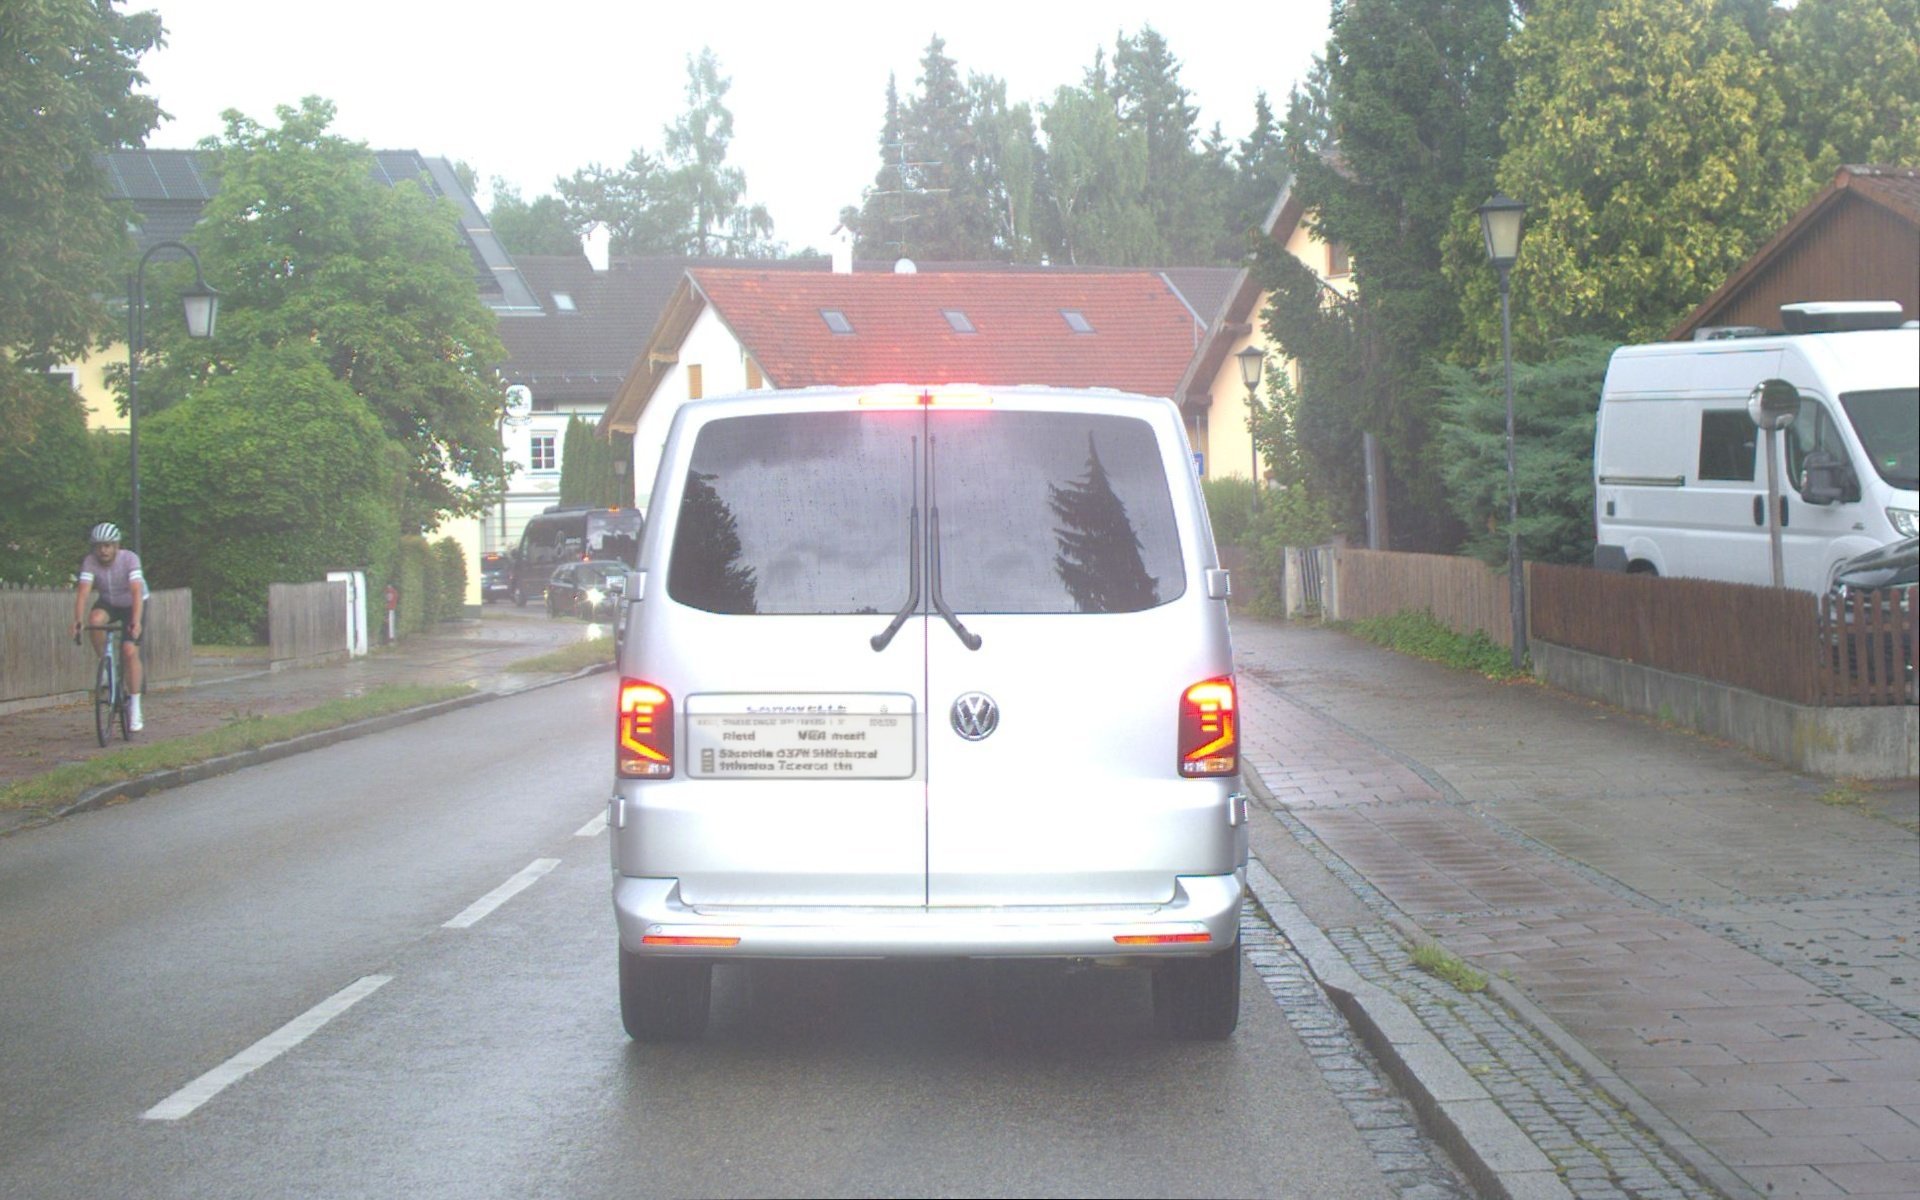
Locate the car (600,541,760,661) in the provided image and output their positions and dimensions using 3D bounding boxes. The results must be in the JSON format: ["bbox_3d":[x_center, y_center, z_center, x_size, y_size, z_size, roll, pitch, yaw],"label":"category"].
[{"bbox_3d":[-3.794,0.007,47.242,1.827,1.553,4.177,-1,0,0],"label":"car"}]

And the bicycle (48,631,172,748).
[{"bbox_3d":[-6.393,0.658,25.924,0.456,0.796,1.977,0,1,0],"label":"bicycle"}]

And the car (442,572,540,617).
[{"bbox_3d":[-14.299,-0.186,104.577,1.780,1.306,3.776,1,0,-27],"label":"car"}]

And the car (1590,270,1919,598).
[{"bbox_3d":[6.624,-1.110,25.473,1.993,2.166,4.954,1,0,-13],"label":"car"}]

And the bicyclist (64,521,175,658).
[{"bbox_3d":[-6.361,-0.083,26.057,0.587,1.018,1.060,0,1,0],"label":"bicyclist"}]

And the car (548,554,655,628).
[{"bbox_3d":[-8.618,-0.232,82.371,1.993,1.697,4.001,1,0,-14],"label":"car"}]

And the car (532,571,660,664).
[{"bbox_3d":[-5.842,0.269,55.530,1.618,1.439,3.670,0,0,1],"label":"car"}]

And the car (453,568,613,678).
[{"bbox_3d":[-5.805,0.299,47.084,1.618,1.439,3.670,0,0,2],"label":"car"}]

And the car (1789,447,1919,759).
[{"bbox_3d":[7.196,-0.051,20.431,4.093,1.745,1.695,-1,3,-3],"label":"car"}]

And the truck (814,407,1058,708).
[{"bbox_3d":[-0.261,-0.450,38.775,2.475,3.063,6.296,1,0,0],"label":"truck"}]

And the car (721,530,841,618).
[{"bbox_3d":[-4.253,-0.611,81.113,1.993,2.007,4.001,1,0,-15],"label":"car"}]

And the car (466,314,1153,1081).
[{"bbox_3d":[-0.314,0.251,11.167,1.801,2.007,4.000,1,0,3],"label":"car"}]
